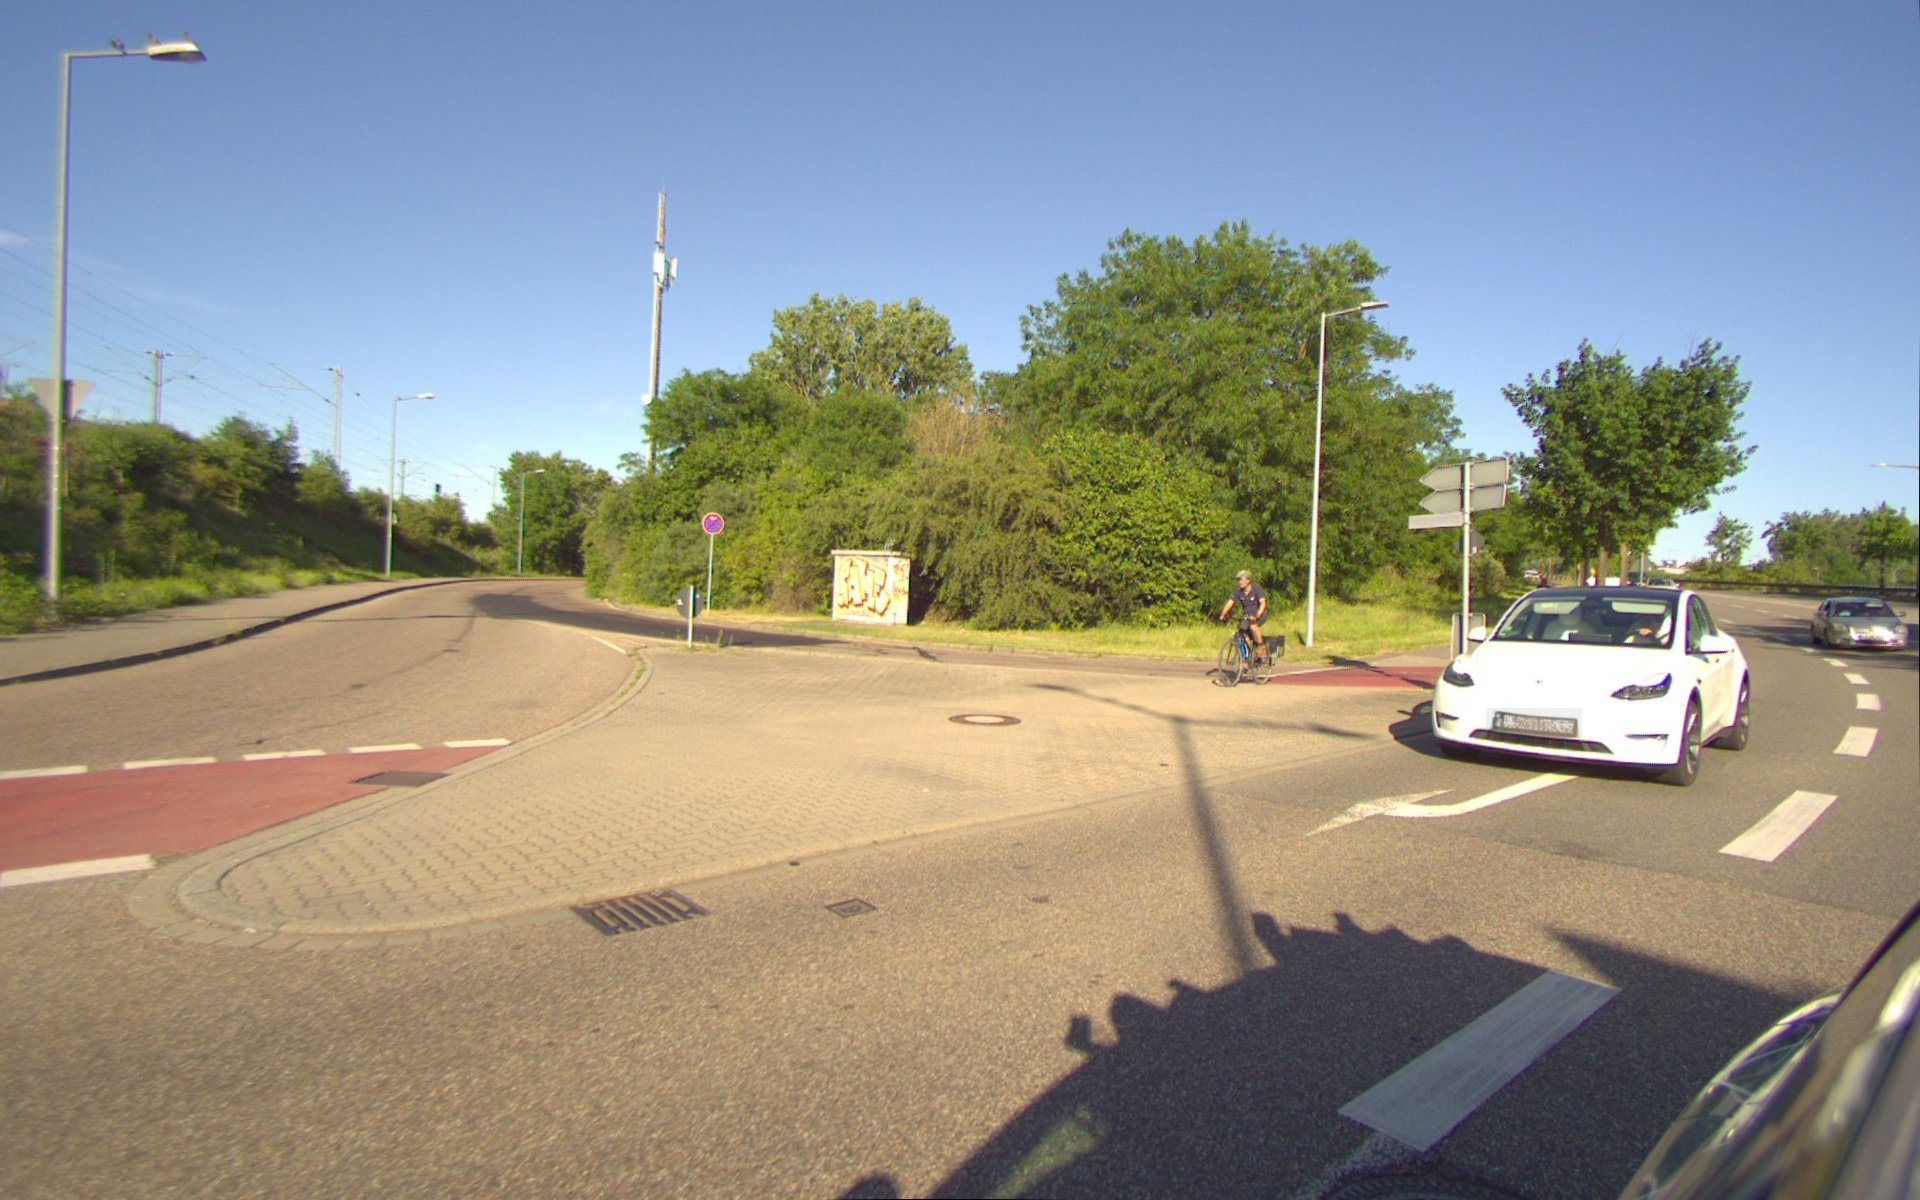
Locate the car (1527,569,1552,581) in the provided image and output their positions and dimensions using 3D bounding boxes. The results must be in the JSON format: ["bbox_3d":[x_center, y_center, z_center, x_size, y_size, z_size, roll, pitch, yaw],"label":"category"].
[{"bbox_3d":[74.751,-3.246,130.581,1.742,1.507,4.260,1,2,14],"label":"car"}]

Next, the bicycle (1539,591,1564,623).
[{"bbox_3d":[21.553,0.244,36.880,0.697,1.087,1.901,4,3,30],"label":"bicycle"}]

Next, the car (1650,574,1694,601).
[{"bbox_3d":[47.728,-0.883,67.929,2.137,1.586,4.149,6,4,33],"label":"car"}]

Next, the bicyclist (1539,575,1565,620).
[{"bbox_3d":[21.568,-0.097,36.874,0.704,1.597,0.994,4,3,31],"label":"bicyclist"}]

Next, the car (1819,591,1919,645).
[{"bbox_3d":[26.510,0.488,29.530,1.671,1.460,3.813,-2,-1,33],"label":"car"}]

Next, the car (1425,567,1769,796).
[{"bbox_3d":[6.225,0.523,9.657,1.915,1.661,4.341,2,3,44],"label":"car"}]

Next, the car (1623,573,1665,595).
[{"bbox_3d":[55.409,-1.284,81.996,1.978,1.738,4.238,2,1,23],"label":"car"}]

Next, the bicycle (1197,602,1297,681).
[{"bbox_3d":[4.563,0.616,15.984,0.694,1.108,2.087,5,4,39],"label":"bicycle"}]

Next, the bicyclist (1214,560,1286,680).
[{"bbox_3d":[4.573,0.297,15.928,0.674,1.798,0.934,5,3,40],"label":"bicyclist"}]
